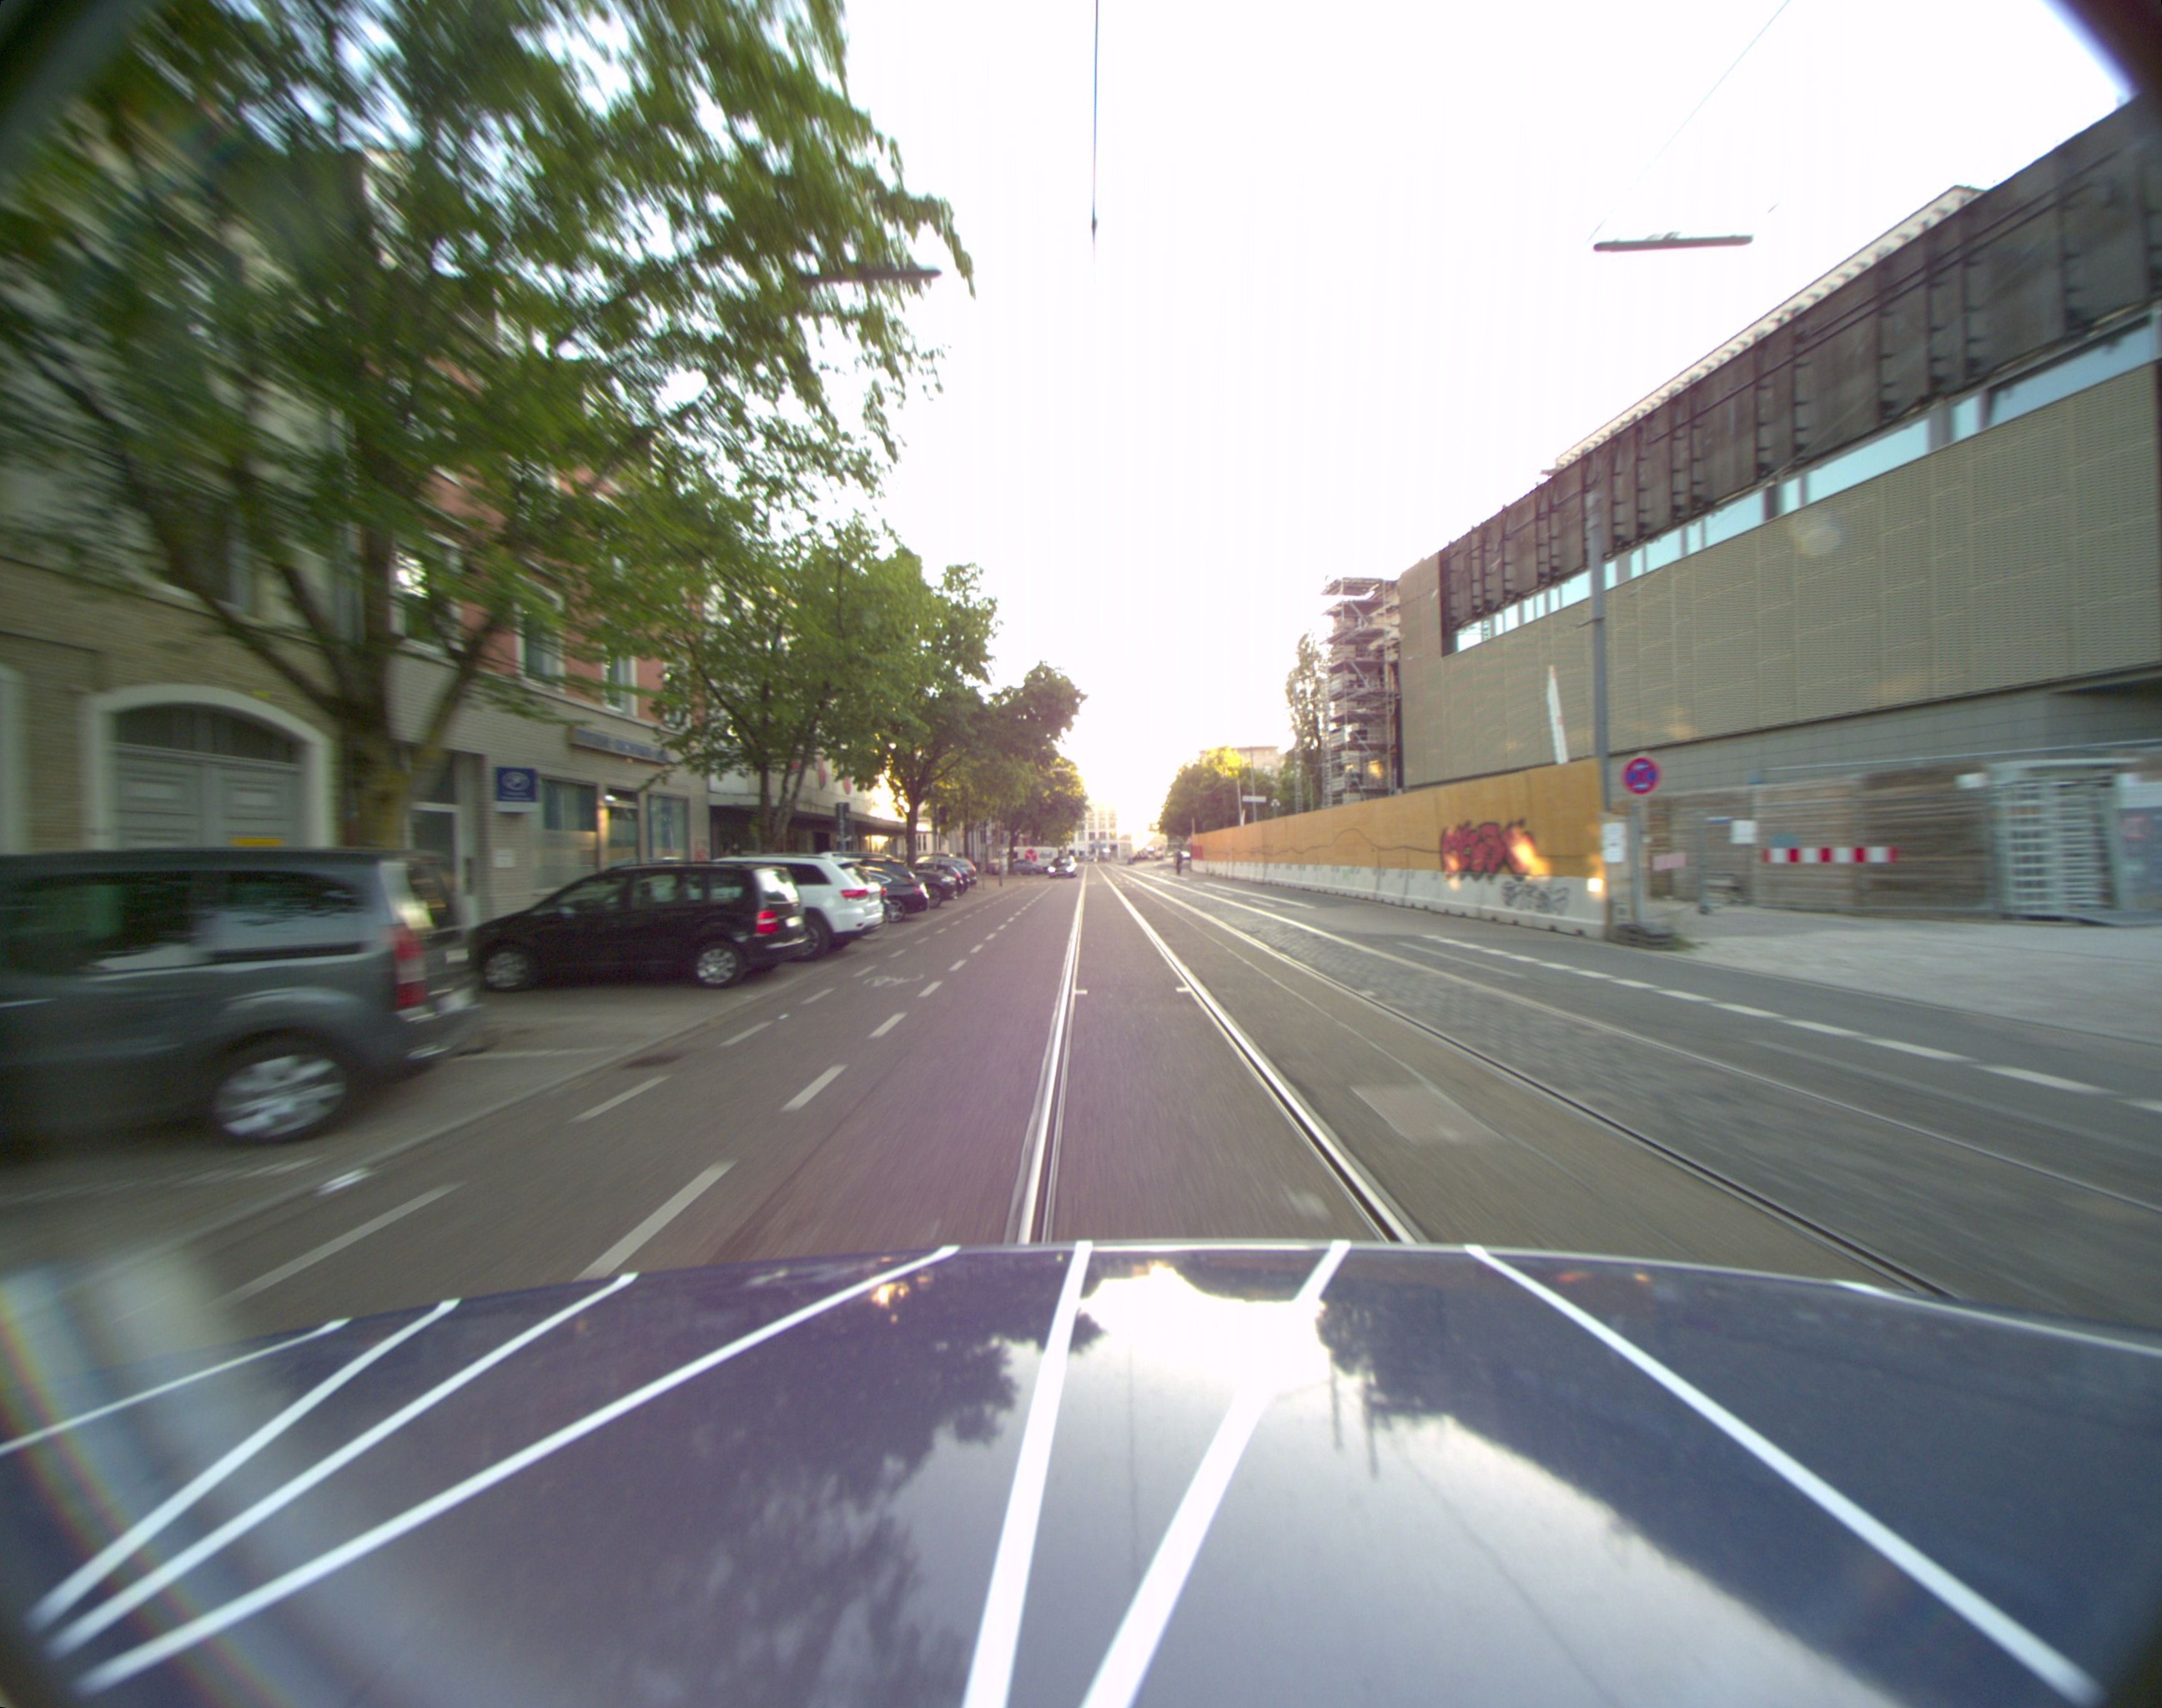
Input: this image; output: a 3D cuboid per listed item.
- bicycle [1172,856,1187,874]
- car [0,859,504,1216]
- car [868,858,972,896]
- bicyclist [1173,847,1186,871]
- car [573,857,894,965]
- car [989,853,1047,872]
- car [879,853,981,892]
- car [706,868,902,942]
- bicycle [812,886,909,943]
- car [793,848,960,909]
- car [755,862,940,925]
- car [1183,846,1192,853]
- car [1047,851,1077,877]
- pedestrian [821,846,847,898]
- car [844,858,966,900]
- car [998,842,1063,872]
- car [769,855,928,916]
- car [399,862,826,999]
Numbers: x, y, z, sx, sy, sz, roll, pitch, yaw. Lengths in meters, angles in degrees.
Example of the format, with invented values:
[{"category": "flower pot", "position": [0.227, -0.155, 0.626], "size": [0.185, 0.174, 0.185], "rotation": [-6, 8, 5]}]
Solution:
[{"category": "bicycle", "position": [7.023, 0.754, 54.232], "size": [0.770, 1.221, 1.936], "rotation": [-2, 0, 0]}, {"category": "car", "position": [-6.279, 0.940, 4.582], "size": [4.167, 1.796, 2.003], "rotation": [0, 0, -28]}, {"category": "car", "position": [-6.778, 0.951, 31.966], "size": [3.901, 1.493, 1.809], "rotation": [1, 0, -30]}, {"category": "bicyclist", "position": [7.010, 0.373, 54.267], "size": [0.770, 1.656, 1.018], "rotation": [-2, 1, 0]}, {"category": "car", "position": [-5.843, 0.921, 13.239], "size": [4.660, 1.678, 2.008], "rotation": [1, 0, 0]}, {"category": "car", "position": [-5.405, 0.750, 65.034], "size": [4.614, 1.504, 1.859], "rotation": [1, -1, -27]}, {"category": "car", "position": [-6.853, 0.843, 34.649], "size": [4.176, 1.654, 1.837], "rotation": [1, 0, -34]}, {"category": "car", "position": [-6.066, 1.049, 16.706], "size": [3.766, 1.418, 1.723], "rotation": [1, 0, -31]}, {"category": "bicycle", "position": [-4.429, 1.220, 15.349], "size": [1.842, 1.096, 0.497], "rotation": [1, 0, -13]}, {"category": "car", "position": [-6.607, 0.777, 24.649], "size": [4.984, 1.816, 2.204], "rotation": [1, 0, -17]}, {"category": "car", "position": [-6.001, 0.992, 19.524], "size": [4.233, 1.418, 1.971], "rotation": [2, 0, -27]}, {"category": "car", "position": [25.448, -1.021, 181.835], "size": [1.997, 1.674, 4.003], "rotation": [-2, 0, 10]}, {"category": "car", "position": [-1.334, 0.706, 55.304], "size": [1.840, 1.631, 4.169], "rotation": [-5, 0, 1]}, {"category": "pedestrian", "position": [-9.523, 0.686, 29.329], "size": [0.693, 1.974, 0.786], "rotation": [1, 1, 1]}, {"category": "car", "position": [-6.737, 0.940, 29.094], "size": [4.174, 1.456, 1.967], "rotation": [1, 0, -27]}, {"category": "car", "position": [-4.725, 0.250, 71.496], "size": [5.650, 2.678, 2.166], "rotation": [-2, 0, -34]}, {"category": "car", "position": [-6.708, 0.886, 22.144], "size": [4.229, 1.639, 1.973], "rotation": [1, 0, -17]}, {"category": "car", "position": [-6.217, 0.995, 10.628], "size": [4.662, 1.678, 2.007], "rotation": [1, 0, -5]}]
